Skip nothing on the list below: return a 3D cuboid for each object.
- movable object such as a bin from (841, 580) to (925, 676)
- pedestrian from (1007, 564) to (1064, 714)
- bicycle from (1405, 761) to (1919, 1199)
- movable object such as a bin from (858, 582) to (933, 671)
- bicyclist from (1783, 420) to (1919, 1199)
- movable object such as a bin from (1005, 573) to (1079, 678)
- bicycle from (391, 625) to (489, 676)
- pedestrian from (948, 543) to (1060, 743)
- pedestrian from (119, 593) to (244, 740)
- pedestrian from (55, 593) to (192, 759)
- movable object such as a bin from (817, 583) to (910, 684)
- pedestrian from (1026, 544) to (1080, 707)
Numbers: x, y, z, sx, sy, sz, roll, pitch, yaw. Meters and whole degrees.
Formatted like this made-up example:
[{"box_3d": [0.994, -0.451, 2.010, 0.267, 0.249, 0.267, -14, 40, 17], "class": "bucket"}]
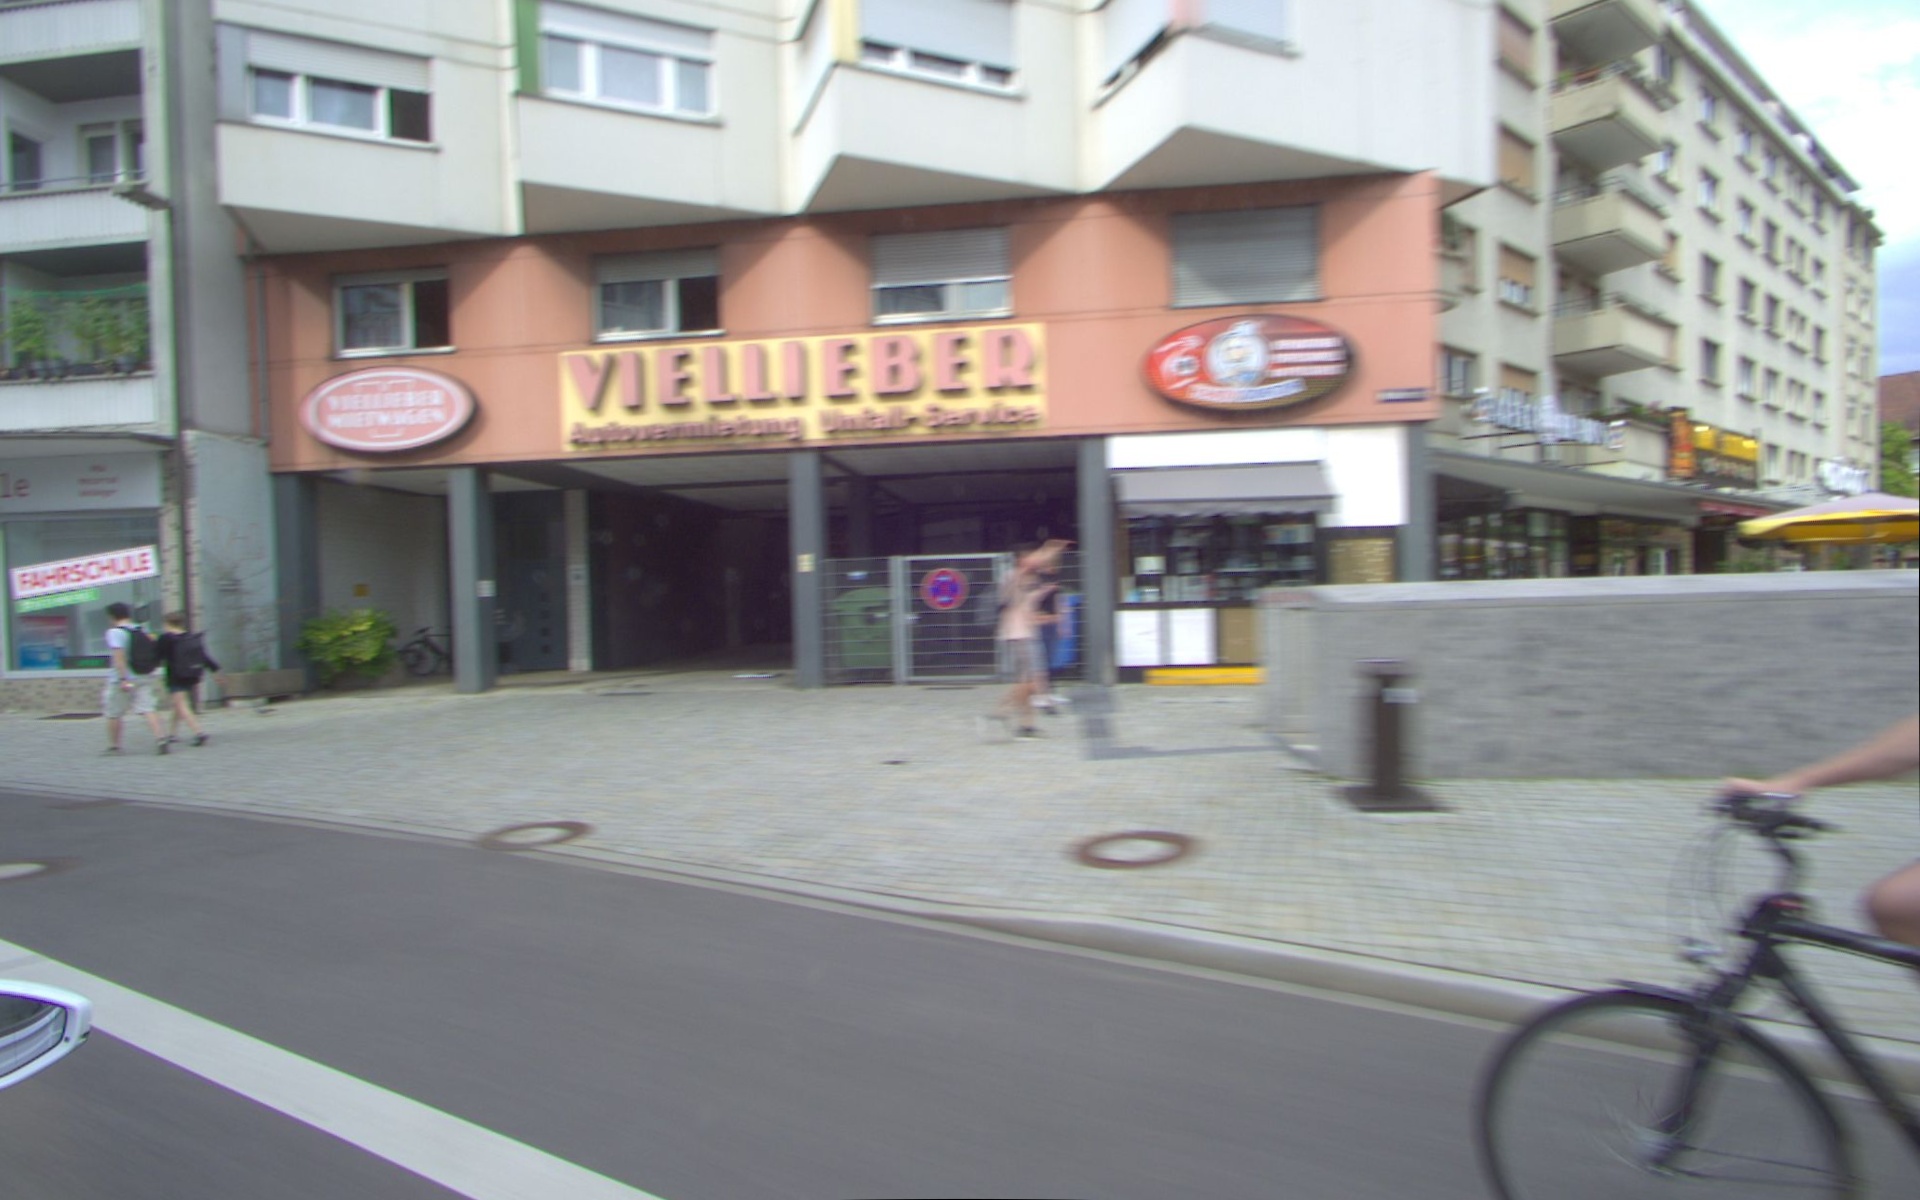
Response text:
[{"box_3d": [-1.276, 0.459, 16.914, 1.174, 1.535, 1.197, -1, 0, 6], "class": "movable object such as a bin"}, {"box_3d": [0.880, 0.438, 11.552, 0.578, 1.696, 0.473, -1, 3, 8], "class": "pedestrian"}, {"box_3d": [2.007, 0.970, 2.011, 1.987, 1.136, 0.405, -2, -1, 30], "class": "bicycle"}, {"box_3d": [-1.145, 0.474, 18.061, 1.145, 1.535, 1.005, -1, 0, 6], "class": "movable object such as a bin"}, {"box_3d": [2.125, 0.541, 1.830, 0.850, 1.732, 0.557, -1, 0, 31], "class": "bicyclist"}, {"box_3d": [1.275, 0.383, 15.422, 1.067, 1.535, 1.147, -1, 0, 6], "class": "movable object such as a bin"}, {"box_3d": [-9.711, 0.946, 18.714, 1.646, 0.908, 0.453, -1, 0, 7], "class": "bicycle"}, {"box_3d": [0.449, 0.409, 9.870, 0.953, 1.878, 0.657, -2, 3, 11], "class": "pedestrian"}, {"box_3d": [-9.384, 0.789, 12.102, 0.926, 1.692, 0.605, -2, 3, 6], "class": "pedestrian"}, {"box_3d": [-9.458, 0.837, 11.344, 0.844, 1.775, 0.751, -1, 4, 19], "class": "pedestrian"}, {"box_3d": [-1.481, 0.511, 15.603, 1.200, 1.479, 1.149, -1, 0, 6], "class": "movable object such as a bin"}, {"box_3d": [1.147, 0.299, 12.286, 0.578, 1.929, 0.673, -1, 3, 8], "class": "pedestrian"}]
